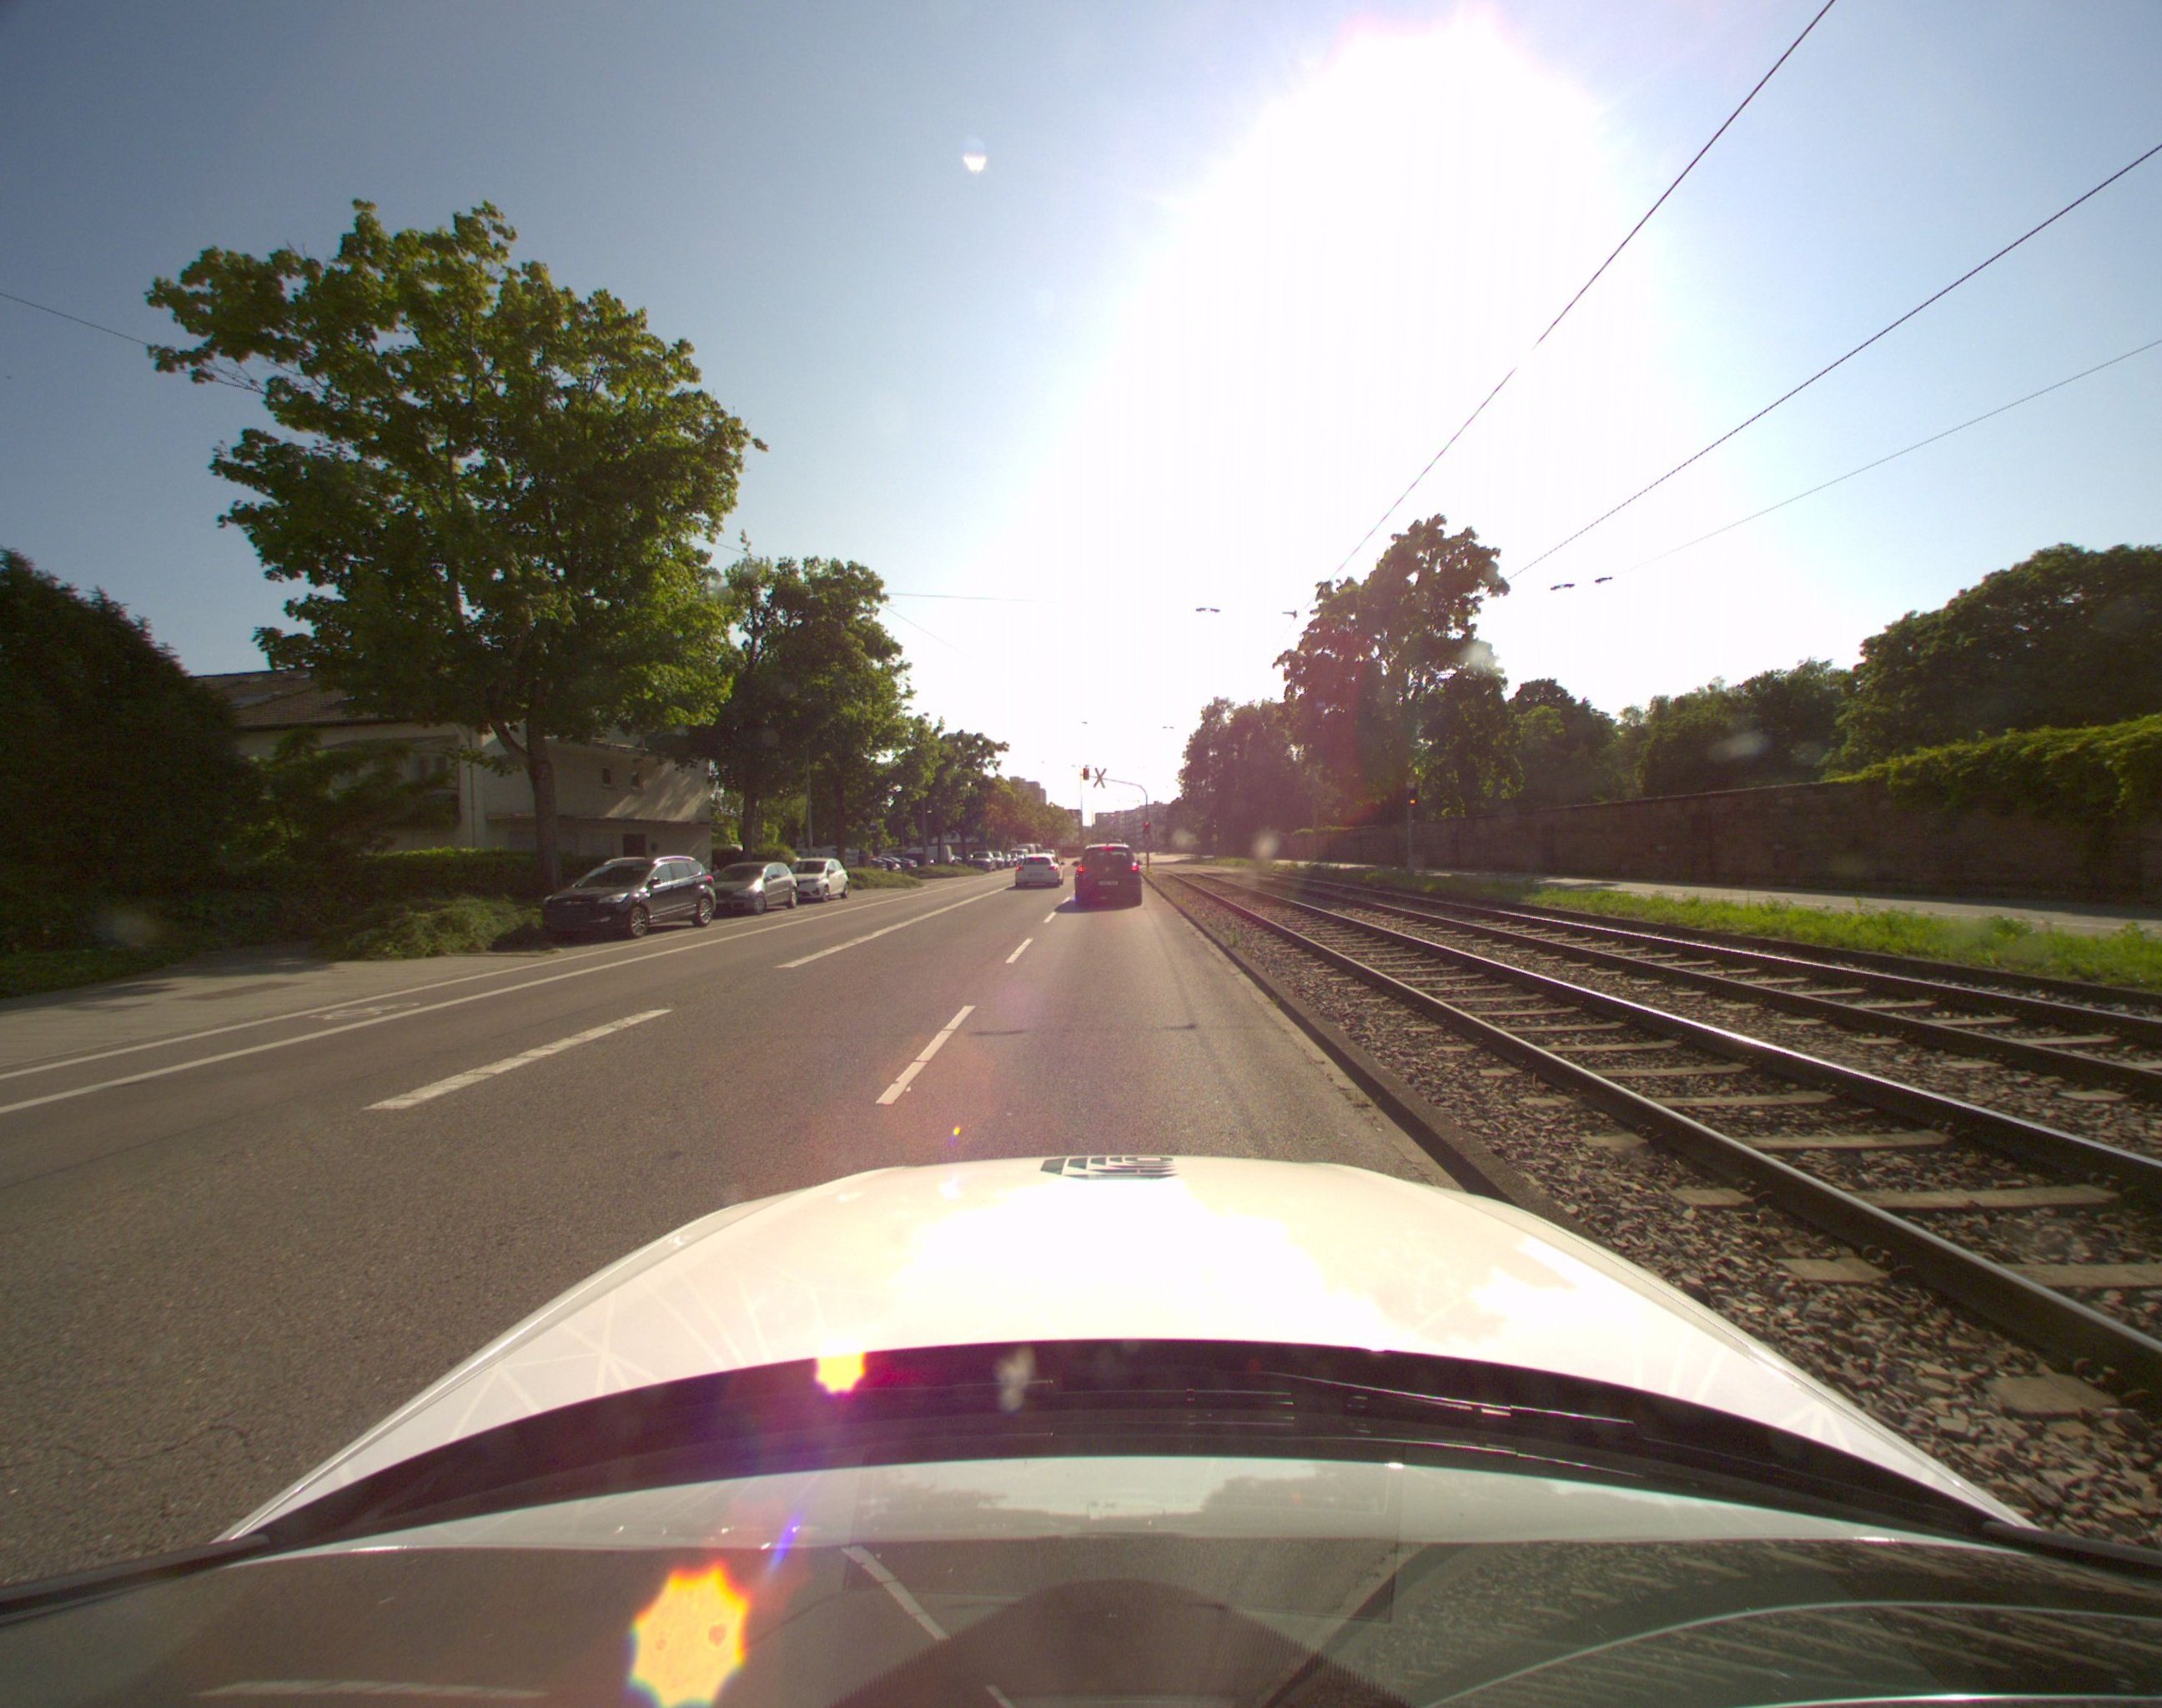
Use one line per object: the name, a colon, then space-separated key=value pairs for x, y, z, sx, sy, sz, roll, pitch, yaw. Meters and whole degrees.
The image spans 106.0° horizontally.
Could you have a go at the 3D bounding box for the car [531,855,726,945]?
car: x=-9.975 y=0.917 z=18.413 sx=1.705 sy=1.694 sz=4.426 roll=-2 pitch=0 yaw=3

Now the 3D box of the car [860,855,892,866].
car: x=-29.150 y=0.918 z=115.794 sx=3.975 sy=1.397 sz=1.737 roll=-2 pitch=0 yaw=-1

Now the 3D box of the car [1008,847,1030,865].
car: x=-6.790 y=0.237 z=90.210 sx=1.724 sy=1.860 sz=4.494 roll=-2 pitch=0 yaw=4

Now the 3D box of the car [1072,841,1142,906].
car: x=0.771 y=0.499 z=23.101 sx=1.804 sy=1.644 sz=4.003 roll=-1 pitch=0 yaw=3

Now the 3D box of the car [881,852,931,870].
car: x=-17.677 y=0.731 z=82.390 sx=4.602 sy=1.651 sz=2.049 roll=-2 pitch=0 yaw=0

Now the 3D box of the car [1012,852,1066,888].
car: x=-1.695 y=0.638 z=34.394 sx=1.857 sy=1.348 sz=4.003 roll=-1 pitch=0 yaw=3

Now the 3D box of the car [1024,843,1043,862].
car: x=-6.044 y=-0.166 z=103.704 sx=1.724 sy=2.268 sz=4.650 roll=-2 pitch=0 yaw=4

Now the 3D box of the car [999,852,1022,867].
car: x=-7.338 y=0.553 z=84.904 sx=1.724 sy=1.450 sz=3.739 roll=-2 pitch=1 yaw=4

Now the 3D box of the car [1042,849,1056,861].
car: x=-4.972 y=0.134 z=126.727 sx=1.724 sy=1.694 sz=4.005 roll=-2 pitch=1 yaw=4

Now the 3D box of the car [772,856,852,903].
car: x=-9.721 y=0.873 z=29.715 sx=1.595 sy=1.550 sz=3.894 roll=0 pitch=0 yaw=0

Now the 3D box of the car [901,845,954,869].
car: x=-17.036 y=0.325 z=90.400 sx=5.354 sy=2.423 sz=2.089 roll=-2 pitch=0 yaw=2

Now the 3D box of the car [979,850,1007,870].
car: x=-7.787 y=0.510 z=72.707 sx=1.724 sy=1.694 sz=4.005 roll=-2 pitch=1 yaw=4

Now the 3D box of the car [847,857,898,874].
car: x=-18.275 y=1.019 z=71.541 sx=3.975 sy=1.307 sz=1.737 roll=-2 pitch=0 yaw=-1

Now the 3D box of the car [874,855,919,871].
car: x=-18.067 y=0.878 z=80.013 sx=3.975 sy=1.397 sz=1.737 roll=-2 pitch=0 yaw=-1

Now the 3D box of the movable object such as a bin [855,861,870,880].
movable object such as a bin: x=-13.632 y=1.042 z=50.840 sx=0.540 sy=1.146 sz=1.262 roll=-2 pitch=0 yaw=3

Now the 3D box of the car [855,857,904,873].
car: x=-18.490 y=1.008 z=74.838 sx=3.975 sy=1.307 sz=1.737 roll=-2 pitch=0 yaw=-1

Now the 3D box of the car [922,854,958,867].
car: x=-16.562 y=0.753 z=95.820 sx=3.975 sy=1.397 sz=1.737 roll=-2 pitch=0 yaw=-1

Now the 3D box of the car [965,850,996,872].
car: x=-8.218 y=0.571 z=67.159 sx=1.724 sy=1.657 sz=4.005 roll=-2 pitch=0 yaw=4

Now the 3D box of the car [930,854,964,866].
car: x=-16.638 y=0.725 z=101.301 sx=3.975 sy=1.397 sz=1.737 roll=-2 pitch=0 yaw=-1

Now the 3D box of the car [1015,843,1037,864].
car: x=-6.562 y=-0.075 z=96.885 sx=1.855 sy=2.347 sz=4.990 roll=-2 pitch=0 yaw=4

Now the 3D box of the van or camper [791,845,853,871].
van or camper: x=-30.337 y=0.494 z=95.552 sx=6.437 sy=2.868 sz=2.309 roll=-2 pitch=0 yaw=3

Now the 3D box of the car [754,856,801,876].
car: x=-29.956 y=1.177 z=80.515 sx=3.980 sy=1.728 sz=1.624 roll=-2 pitch=0 yaw=-5

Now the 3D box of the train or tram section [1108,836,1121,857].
train or tram section: x=6.172 y=-1.325 z=149.031 sx=2.317 sy=3.570 sz=8.906 roll=-2 pitch=0 yaw=3

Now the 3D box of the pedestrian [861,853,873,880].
pedestrian: x=-13.590 y=0.789 z=51.773 sx=0.522 sy=1.628 sz=0.610 roll=-2 pitch=0 yaw=2

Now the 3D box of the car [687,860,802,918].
car: x=-9.828 y=0.960 z=24.118 sx=1.671 sy=1.468 sz=3.968 roll=-2 pitch=0 yaw=0

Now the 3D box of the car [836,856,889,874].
car: x=-18.453 y=0.924 z=68.952 sx=3.975 sy=1.307 sz=1.737 roll=-2 pitch=0 yaw=-1

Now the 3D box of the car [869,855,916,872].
car: x=-17.816 y=0.887 z=77.039 sx=3.975 sy=1.397 sz=1.737 roll=-2 pitch=0 yaw=-1

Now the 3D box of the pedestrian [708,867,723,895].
pedestrian: x=-16.407 y=1.217 z=36.561 sx=0.442 sy=1.217 sz=0.392 roll=-2 pitch=0 yaw=10

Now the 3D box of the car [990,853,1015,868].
car: x=-7.578 y=0.611 z=79.020 sx=1.724 sy=1.389 sz=3.739 roll=-2 pitch=1 yaw=4

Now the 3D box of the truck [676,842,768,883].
truck: x=-30.982 y=0.751 z=70.429 sx=6.939 sy=3.242 sz=1.987 roll=-2 pitch=0 yaw=0
